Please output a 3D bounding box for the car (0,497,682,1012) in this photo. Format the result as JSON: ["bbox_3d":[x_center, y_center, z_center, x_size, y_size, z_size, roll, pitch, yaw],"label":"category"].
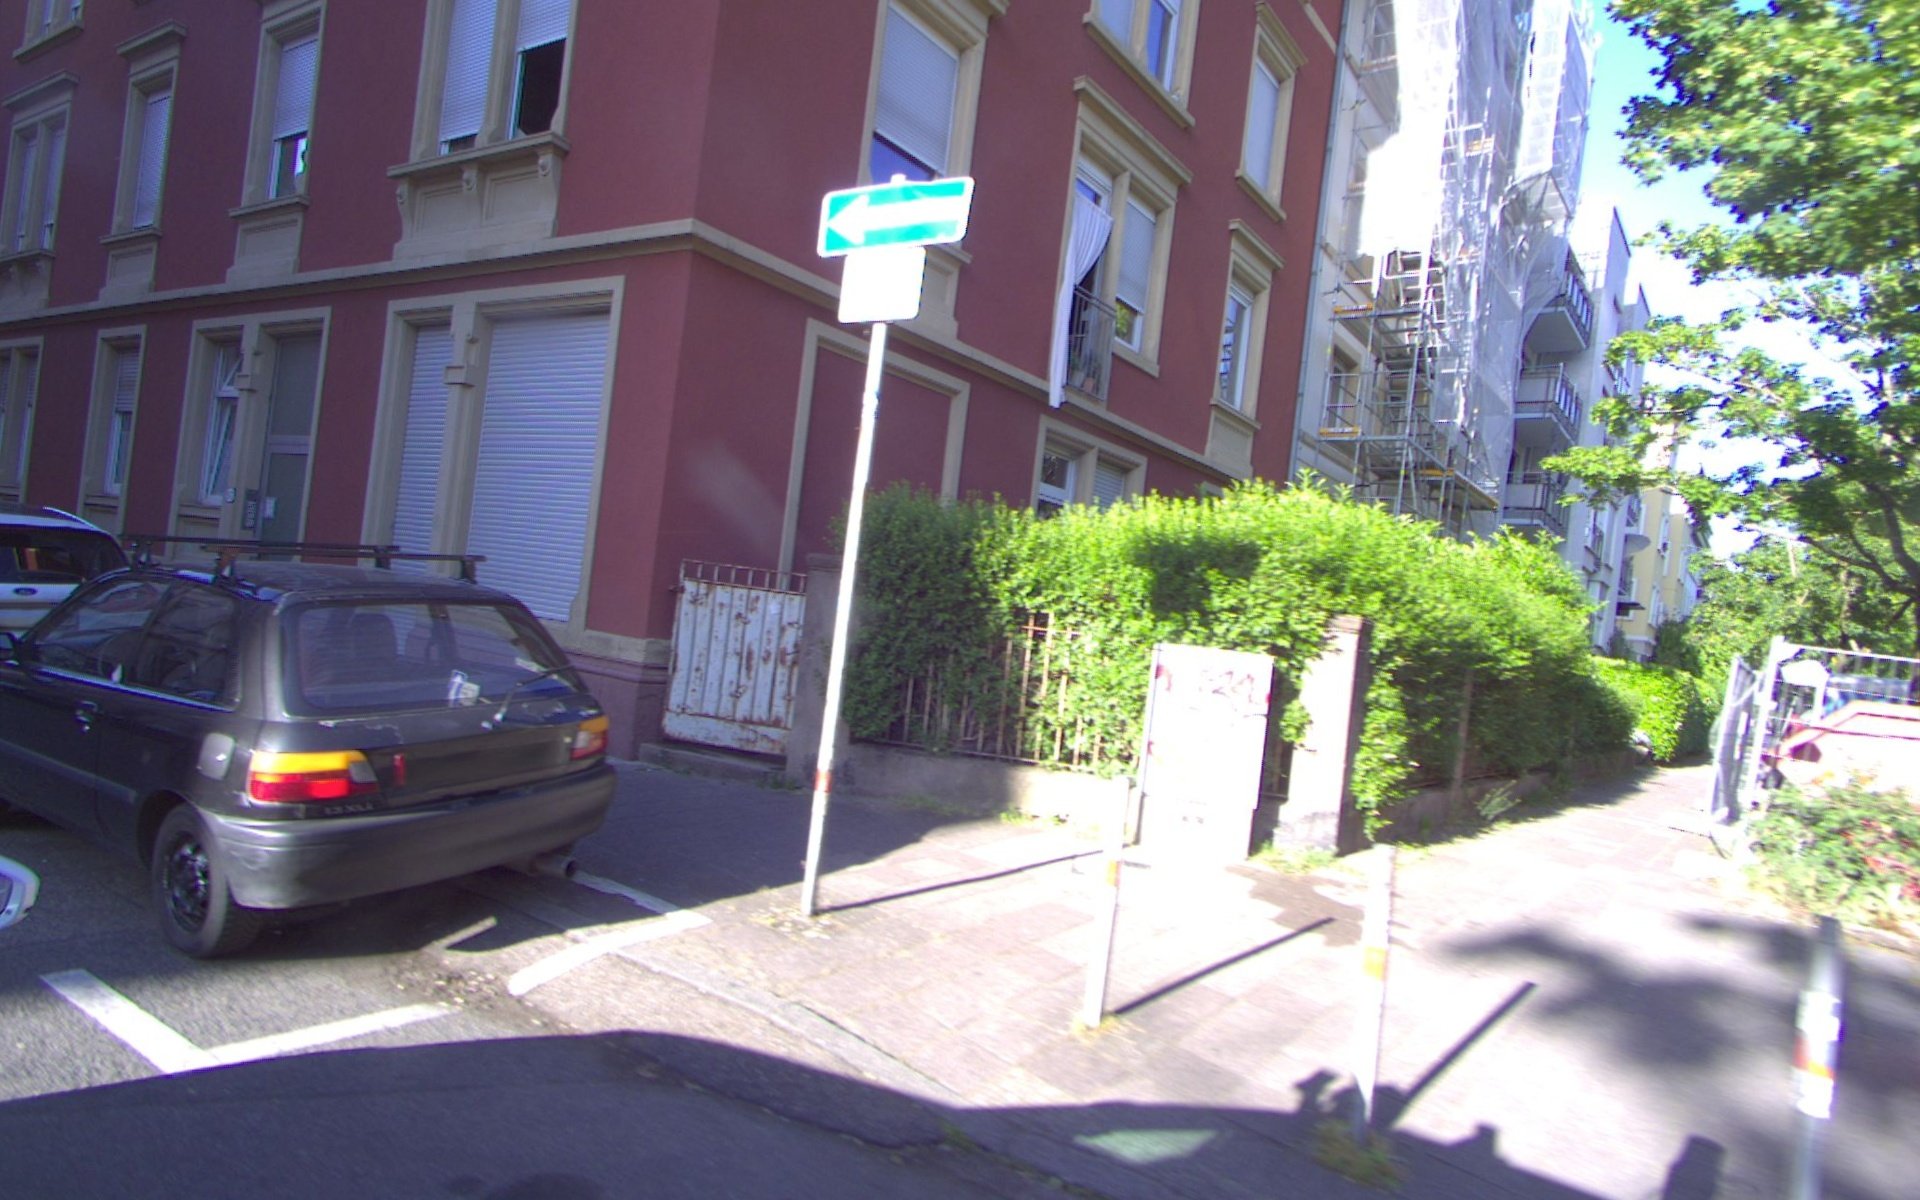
[{"bbox_3d":[-3.318,0.433,4.745,3.644,1.500,1.672,6,-2,30],"label":"car"}]

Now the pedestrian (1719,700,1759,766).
[{"bbox_3d":[25.869,4.410,33.392,0.781,2.035,1.029,5,-4,45],"label":"pedestrian"}]

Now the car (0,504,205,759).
[{"bbox_3d":[-7.172,0.025,6.924,3.904,1.479,1.708,6,-2,31],"label":"car"}]

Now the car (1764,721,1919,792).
[{"bbox_3d":[29.567,5.211,33.520,4.119,1.664,1.997,5,-5,37],"label":"car"}]
